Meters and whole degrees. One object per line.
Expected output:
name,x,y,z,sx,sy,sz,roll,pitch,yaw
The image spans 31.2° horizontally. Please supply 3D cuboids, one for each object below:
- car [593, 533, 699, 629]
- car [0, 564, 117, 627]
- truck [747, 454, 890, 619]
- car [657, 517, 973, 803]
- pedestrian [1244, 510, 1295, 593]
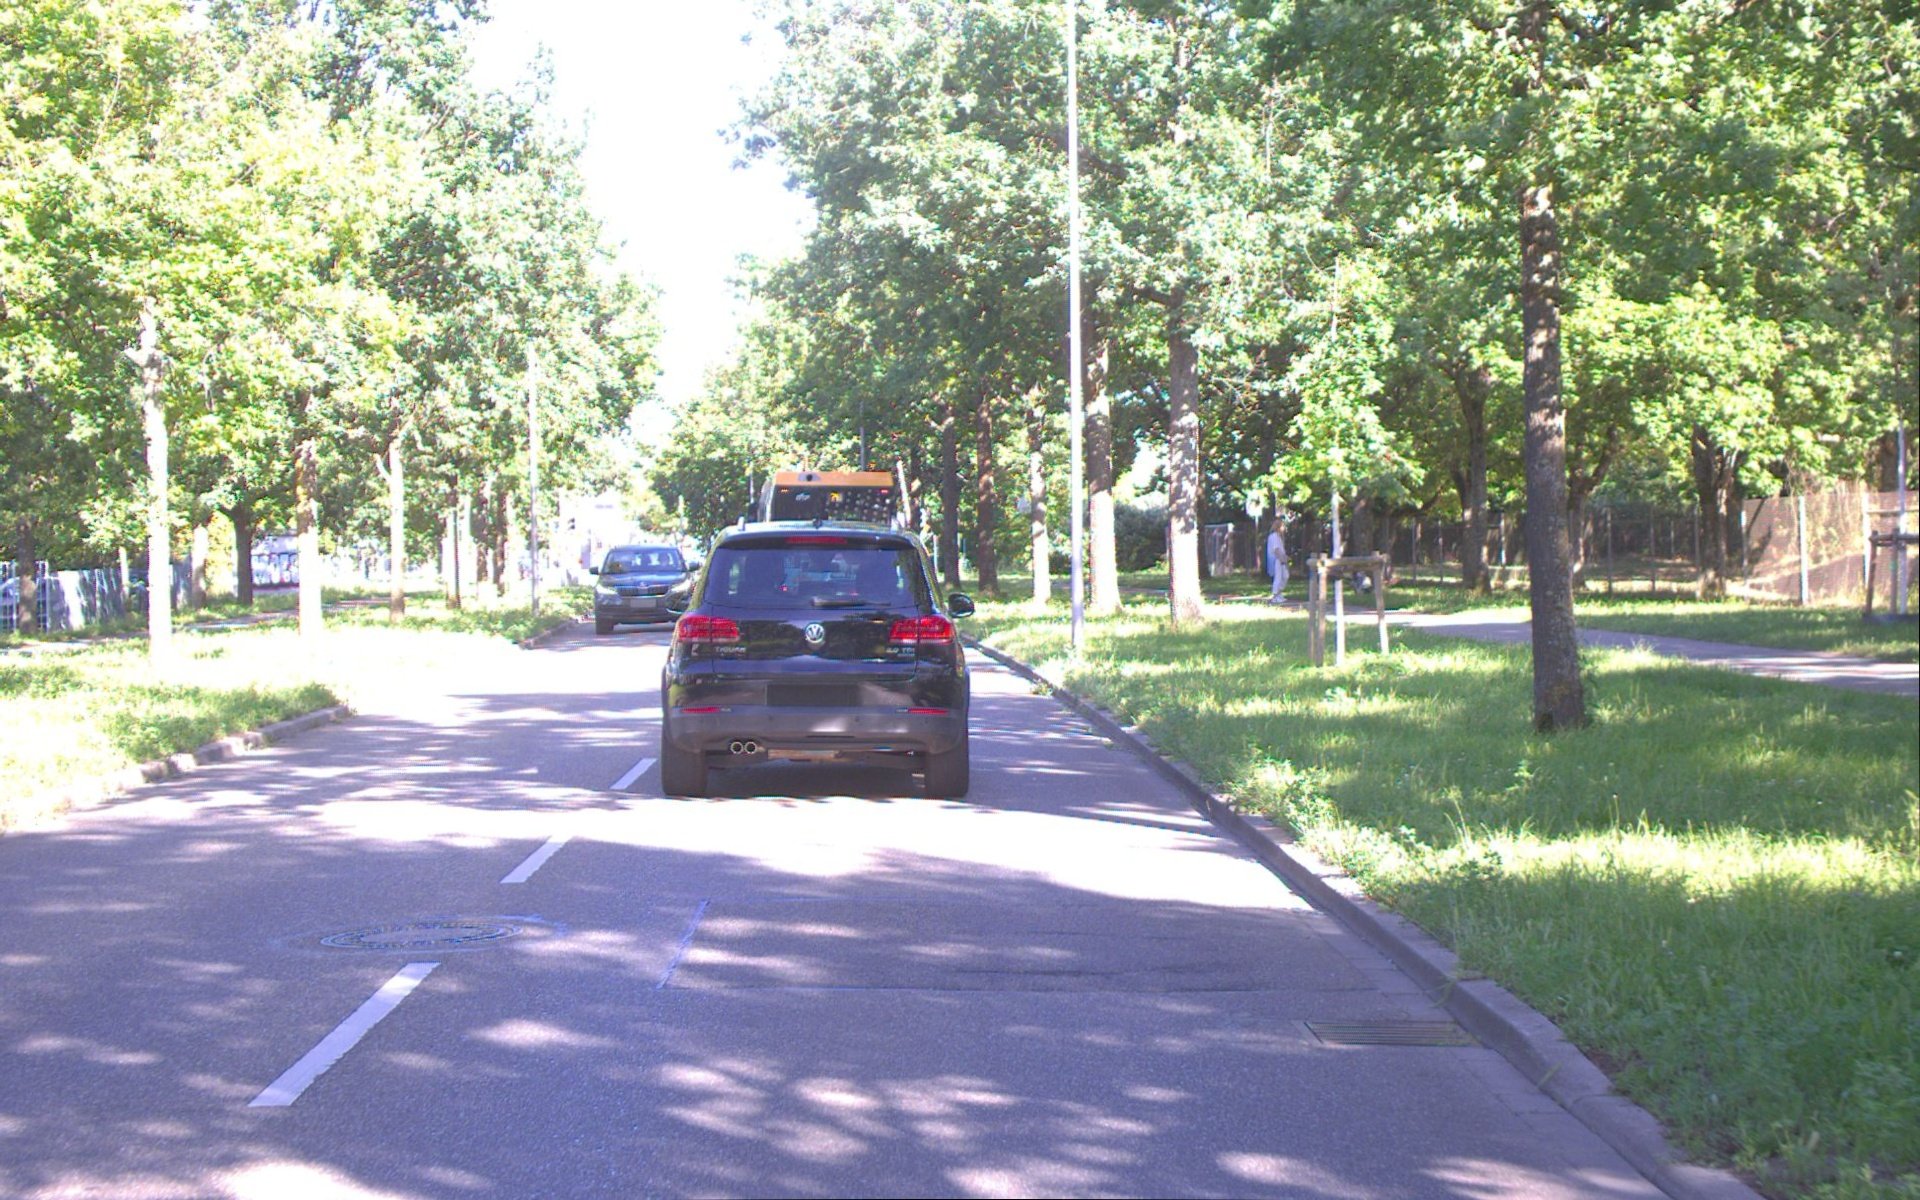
car,-5.871,-0.365,64.619,1.767,1.666,4.200,-2,1,-3
car,-26.721,-0.141,100.372,3.986,1.795,2.001,1,1,-11
truck,-3.083,-1.325,72.809,2.511,3.232,8.154,-1,1,-5
car,-1.005,0.324,21.725,1.782,1.628,4.001,1,1,-5
pedestrian,6.266,-0.983,69.664,0.718,1.625,0.608,-2,2,42
